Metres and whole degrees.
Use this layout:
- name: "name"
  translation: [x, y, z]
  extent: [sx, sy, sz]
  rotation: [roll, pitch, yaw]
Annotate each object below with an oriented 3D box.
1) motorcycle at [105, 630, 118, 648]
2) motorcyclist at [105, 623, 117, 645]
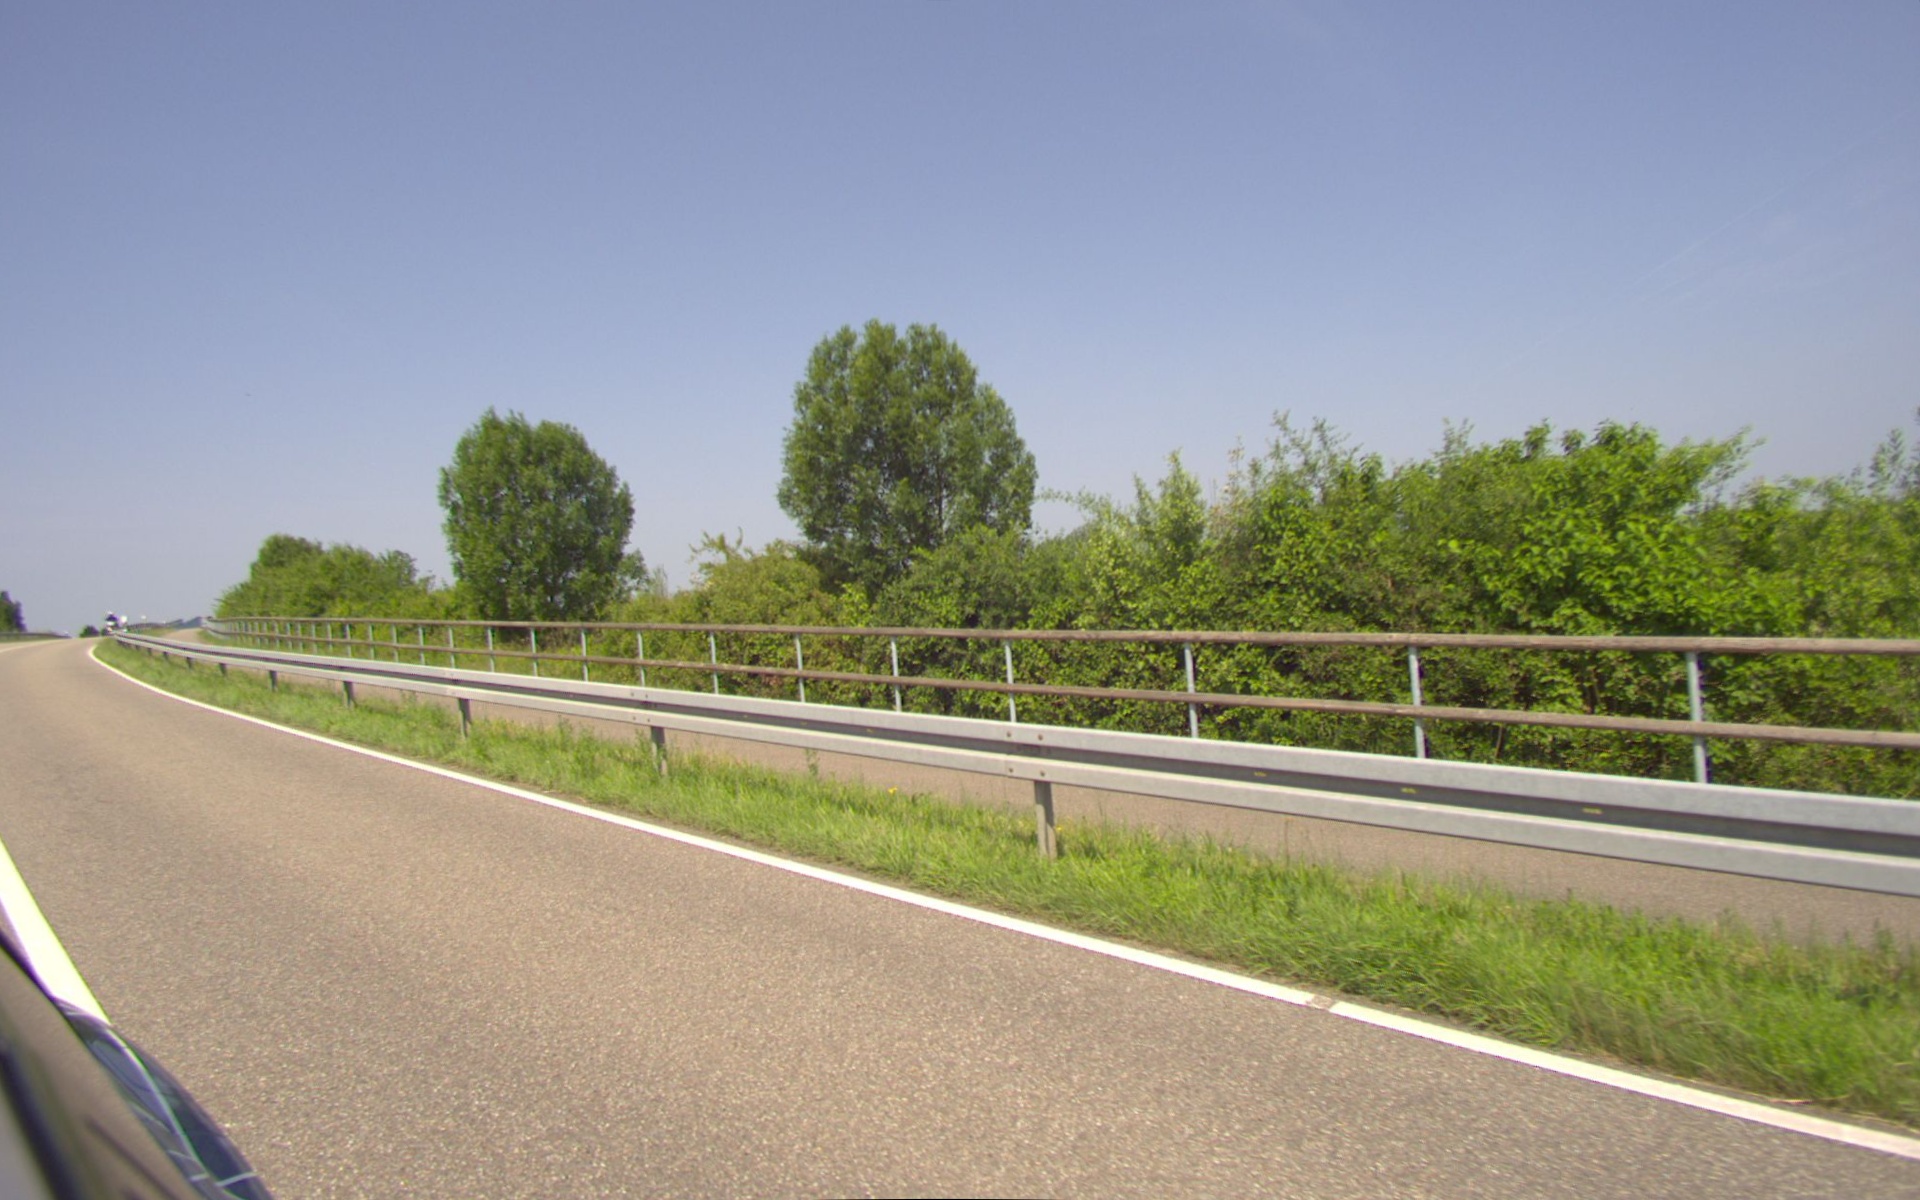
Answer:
- name: "motorcycle"
  translation: [-60.580, 2.788, 72.245]
  extent: [0.634, 1.233, 1.642]
  rotation: [0, -1, -37]
- name: "motorcyclist"
  translation: [-60.585, 2.441, 72.228]
  extent: [0.645, 1.574, 0.777]
  rotation: [0, -1, -37]
